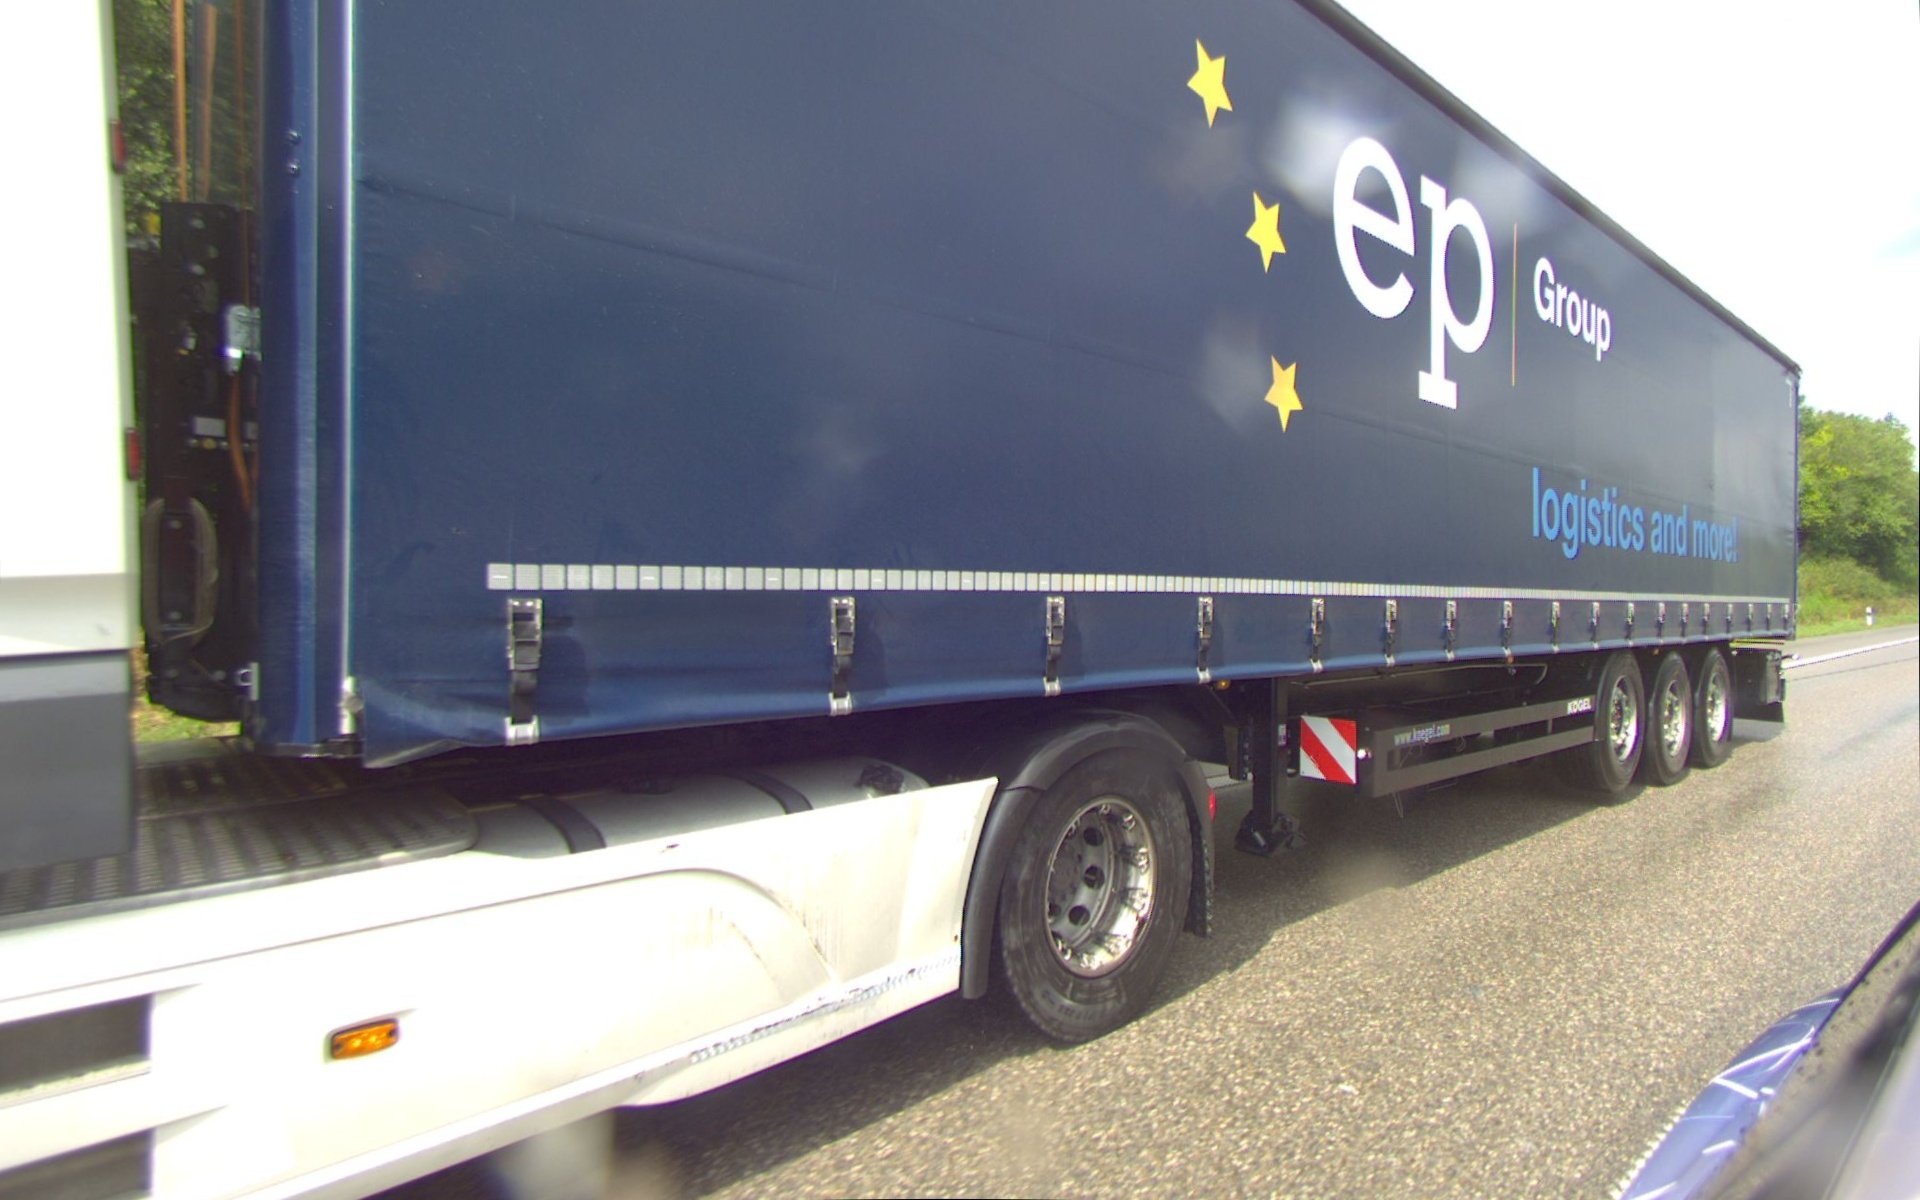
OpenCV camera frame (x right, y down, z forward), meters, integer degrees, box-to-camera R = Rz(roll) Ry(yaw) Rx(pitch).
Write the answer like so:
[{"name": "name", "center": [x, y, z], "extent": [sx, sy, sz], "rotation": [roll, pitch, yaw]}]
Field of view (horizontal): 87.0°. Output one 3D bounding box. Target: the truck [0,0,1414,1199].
[{"name": "truck", "center": [-1.553, -0.631, 3.091], "extent": [7.163, 4.046, 2.611], "rotation": [-1, 0, -41]}]

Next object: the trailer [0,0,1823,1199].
[{"name": "trailer", "center": [2.931, -0.662, 7.026], "extent": [13.819, 4.046, 2.639], "rotation": [-1, 1, -41]}]
